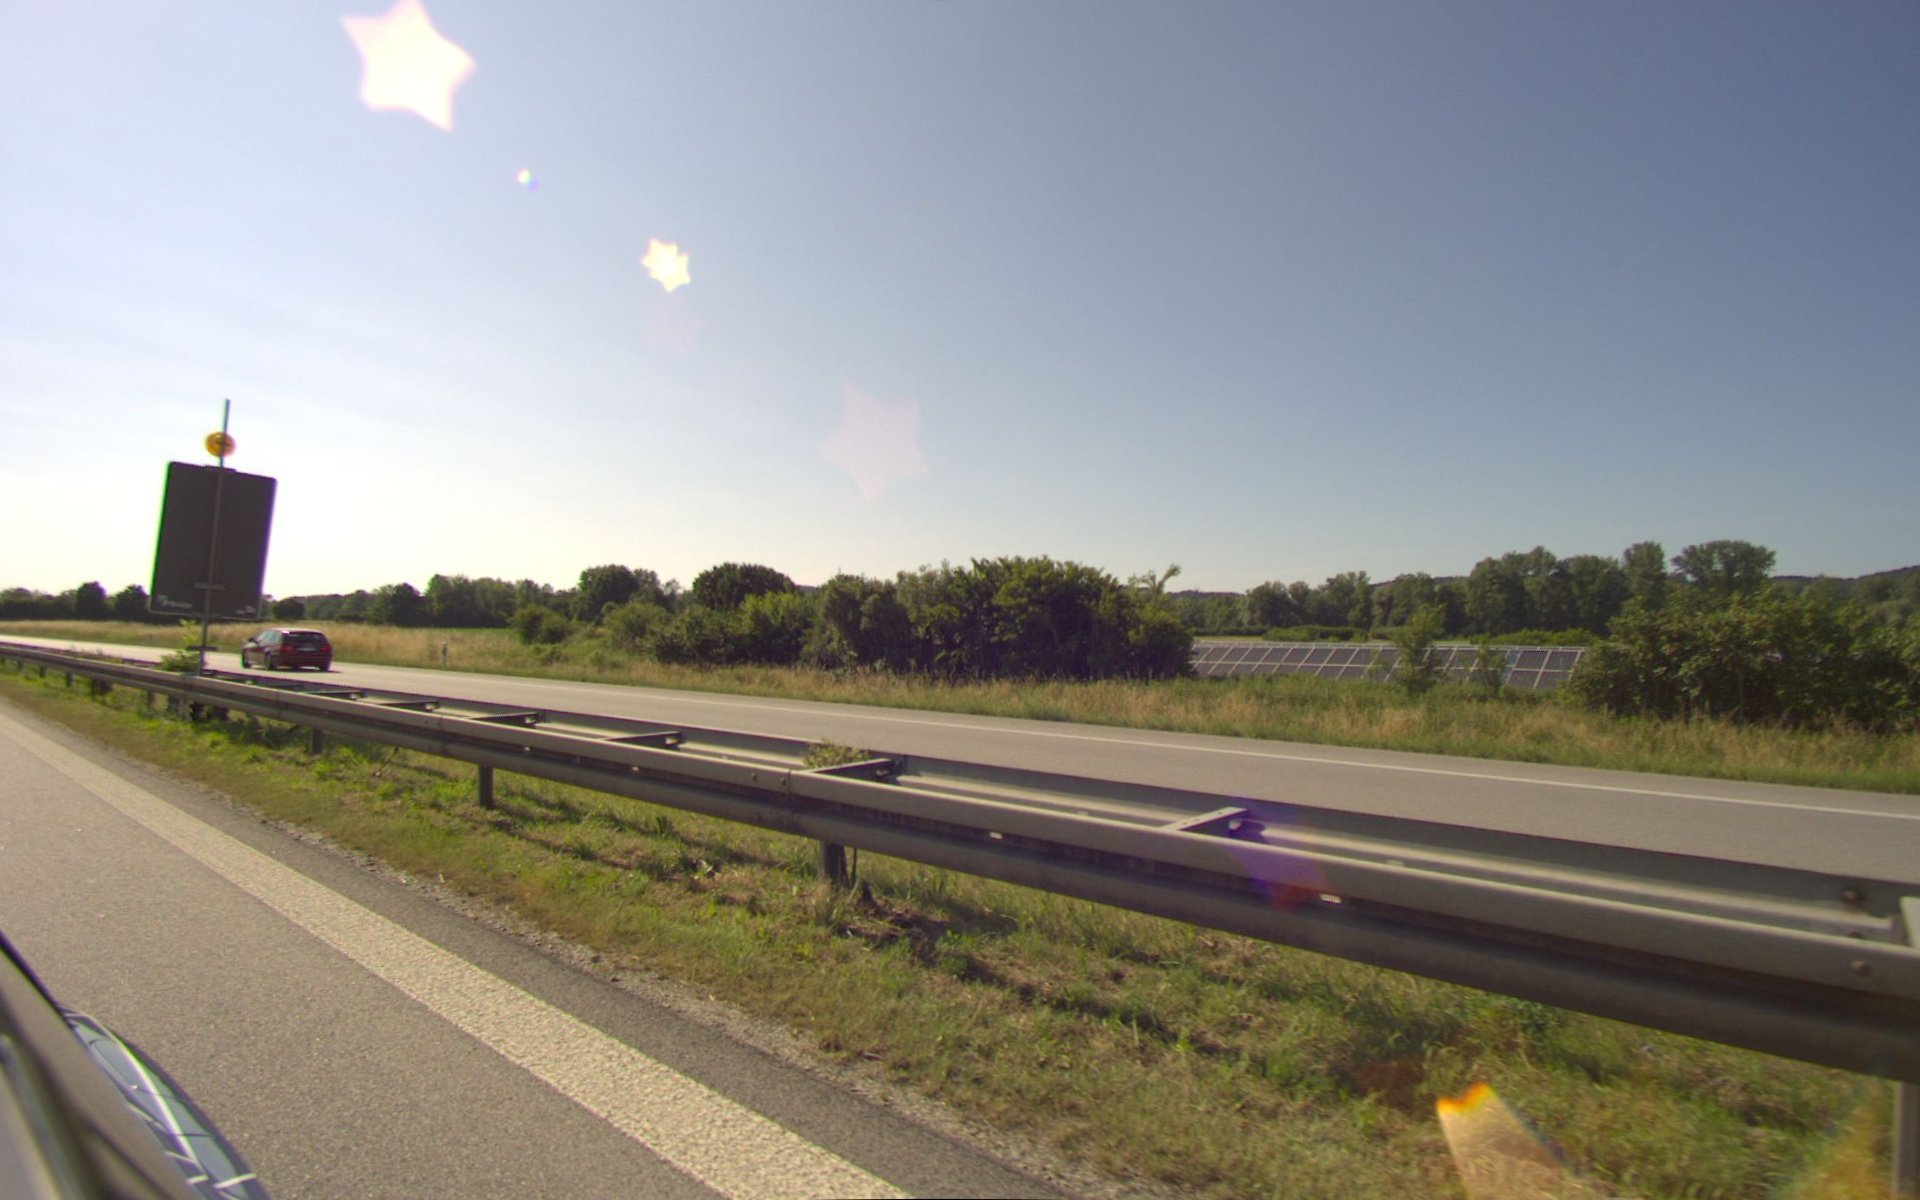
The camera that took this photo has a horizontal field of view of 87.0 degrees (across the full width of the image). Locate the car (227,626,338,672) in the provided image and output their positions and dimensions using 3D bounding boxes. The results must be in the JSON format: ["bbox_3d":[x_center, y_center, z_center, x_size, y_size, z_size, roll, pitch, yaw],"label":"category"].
[{"bbox_3d":[-22.737,1.627,33.892,4.920,1.409,1.813,-1,-5,41],"label":"car"}]
